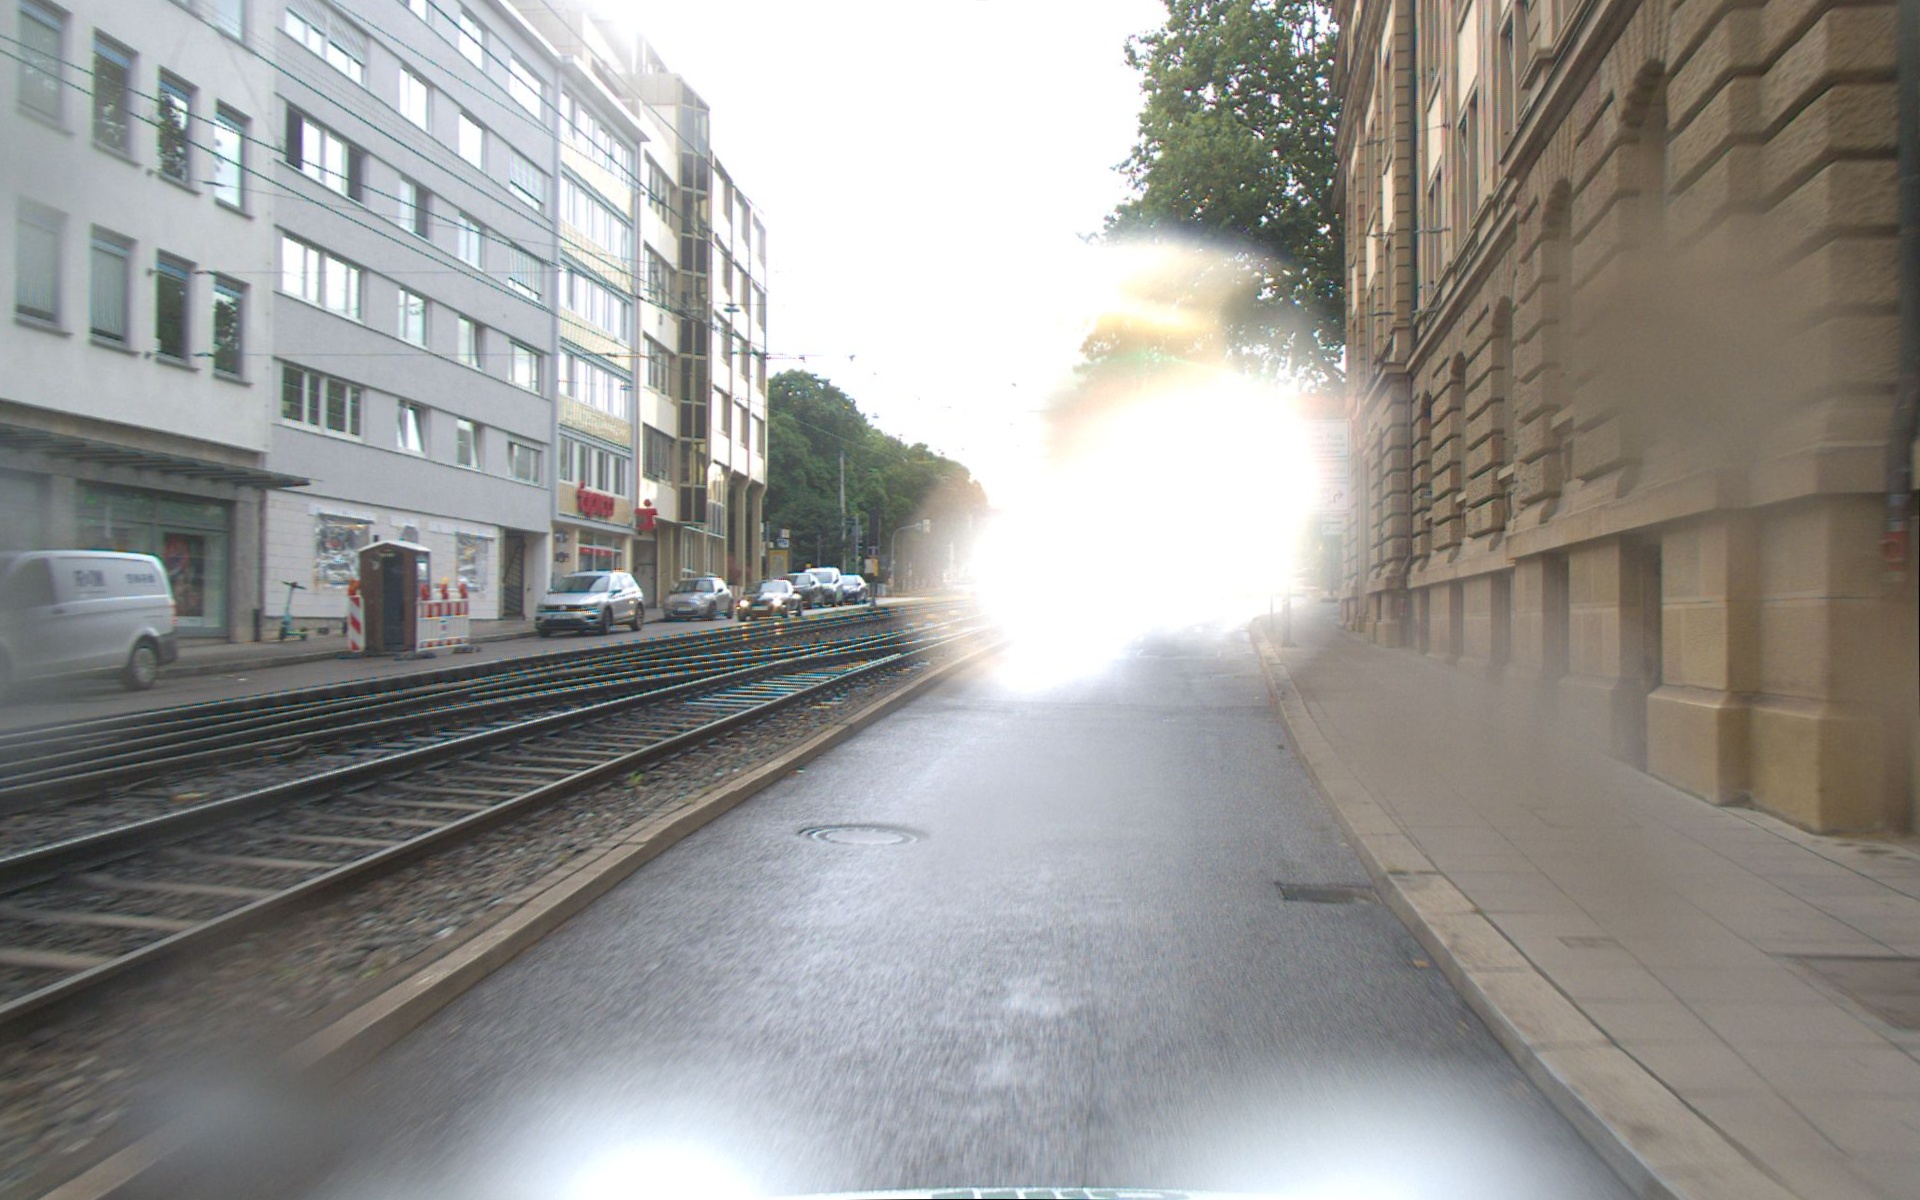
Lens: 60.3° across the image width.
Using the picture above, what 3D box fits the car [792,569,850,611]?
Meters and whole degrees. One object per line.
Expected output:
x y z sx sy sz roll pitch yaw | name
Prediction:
-6.507 -0.443 77.876 1.952 1.882 4.697 2 0 4 | car

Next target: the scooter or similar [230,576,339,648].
-13.943 0.255 34.258 0.681 1.398 3.091 2 0 6 | scooter or similar

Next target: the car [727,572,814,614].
-6.077 -0.197 53.499 1.951 1.277 4.697 -1 0 4 | car

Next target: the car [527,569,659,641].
-9.628 0.088 43.801 1.951 1.703 4.699 2 2 6 | car

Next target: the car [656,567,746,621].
-8.698 -0.175 55.842 1.952 1.703 4.697 2 0 4 | car

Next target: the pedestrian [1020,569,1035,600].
4.024 -0.925 98.648 0.628 1.819 0.807 2 -1 -17 | pedestrian

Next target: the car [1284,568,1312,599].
36.875 -1.781 180.592 2.491 3.188 5.034 2 0 6 | car

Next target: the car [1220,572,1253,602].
15.453 -0.746 92.368 1.643 1.604 4.257 -1 1 11 | car

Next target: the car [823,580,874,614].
-5.640 -0.130 84.070 1.952 1.610 4.551 2 0 4 | car

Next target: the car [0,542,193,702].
-12.102 0.262 21.093 1.951 1.875 5.134 0 0 4 | car

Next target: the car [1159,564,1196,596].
12.704 -1.144 96.415 1.938 1.668 4.420 2 0 9 | car

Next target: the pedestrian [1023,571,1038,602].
4.170 -0.780 97.769 0.627 1.819 0.808 2 -1 -12 | pedestrian

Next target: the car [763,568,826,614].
-7.225 -0.365 72.603 1.952 1.882 4.697 2 0 4 | car
